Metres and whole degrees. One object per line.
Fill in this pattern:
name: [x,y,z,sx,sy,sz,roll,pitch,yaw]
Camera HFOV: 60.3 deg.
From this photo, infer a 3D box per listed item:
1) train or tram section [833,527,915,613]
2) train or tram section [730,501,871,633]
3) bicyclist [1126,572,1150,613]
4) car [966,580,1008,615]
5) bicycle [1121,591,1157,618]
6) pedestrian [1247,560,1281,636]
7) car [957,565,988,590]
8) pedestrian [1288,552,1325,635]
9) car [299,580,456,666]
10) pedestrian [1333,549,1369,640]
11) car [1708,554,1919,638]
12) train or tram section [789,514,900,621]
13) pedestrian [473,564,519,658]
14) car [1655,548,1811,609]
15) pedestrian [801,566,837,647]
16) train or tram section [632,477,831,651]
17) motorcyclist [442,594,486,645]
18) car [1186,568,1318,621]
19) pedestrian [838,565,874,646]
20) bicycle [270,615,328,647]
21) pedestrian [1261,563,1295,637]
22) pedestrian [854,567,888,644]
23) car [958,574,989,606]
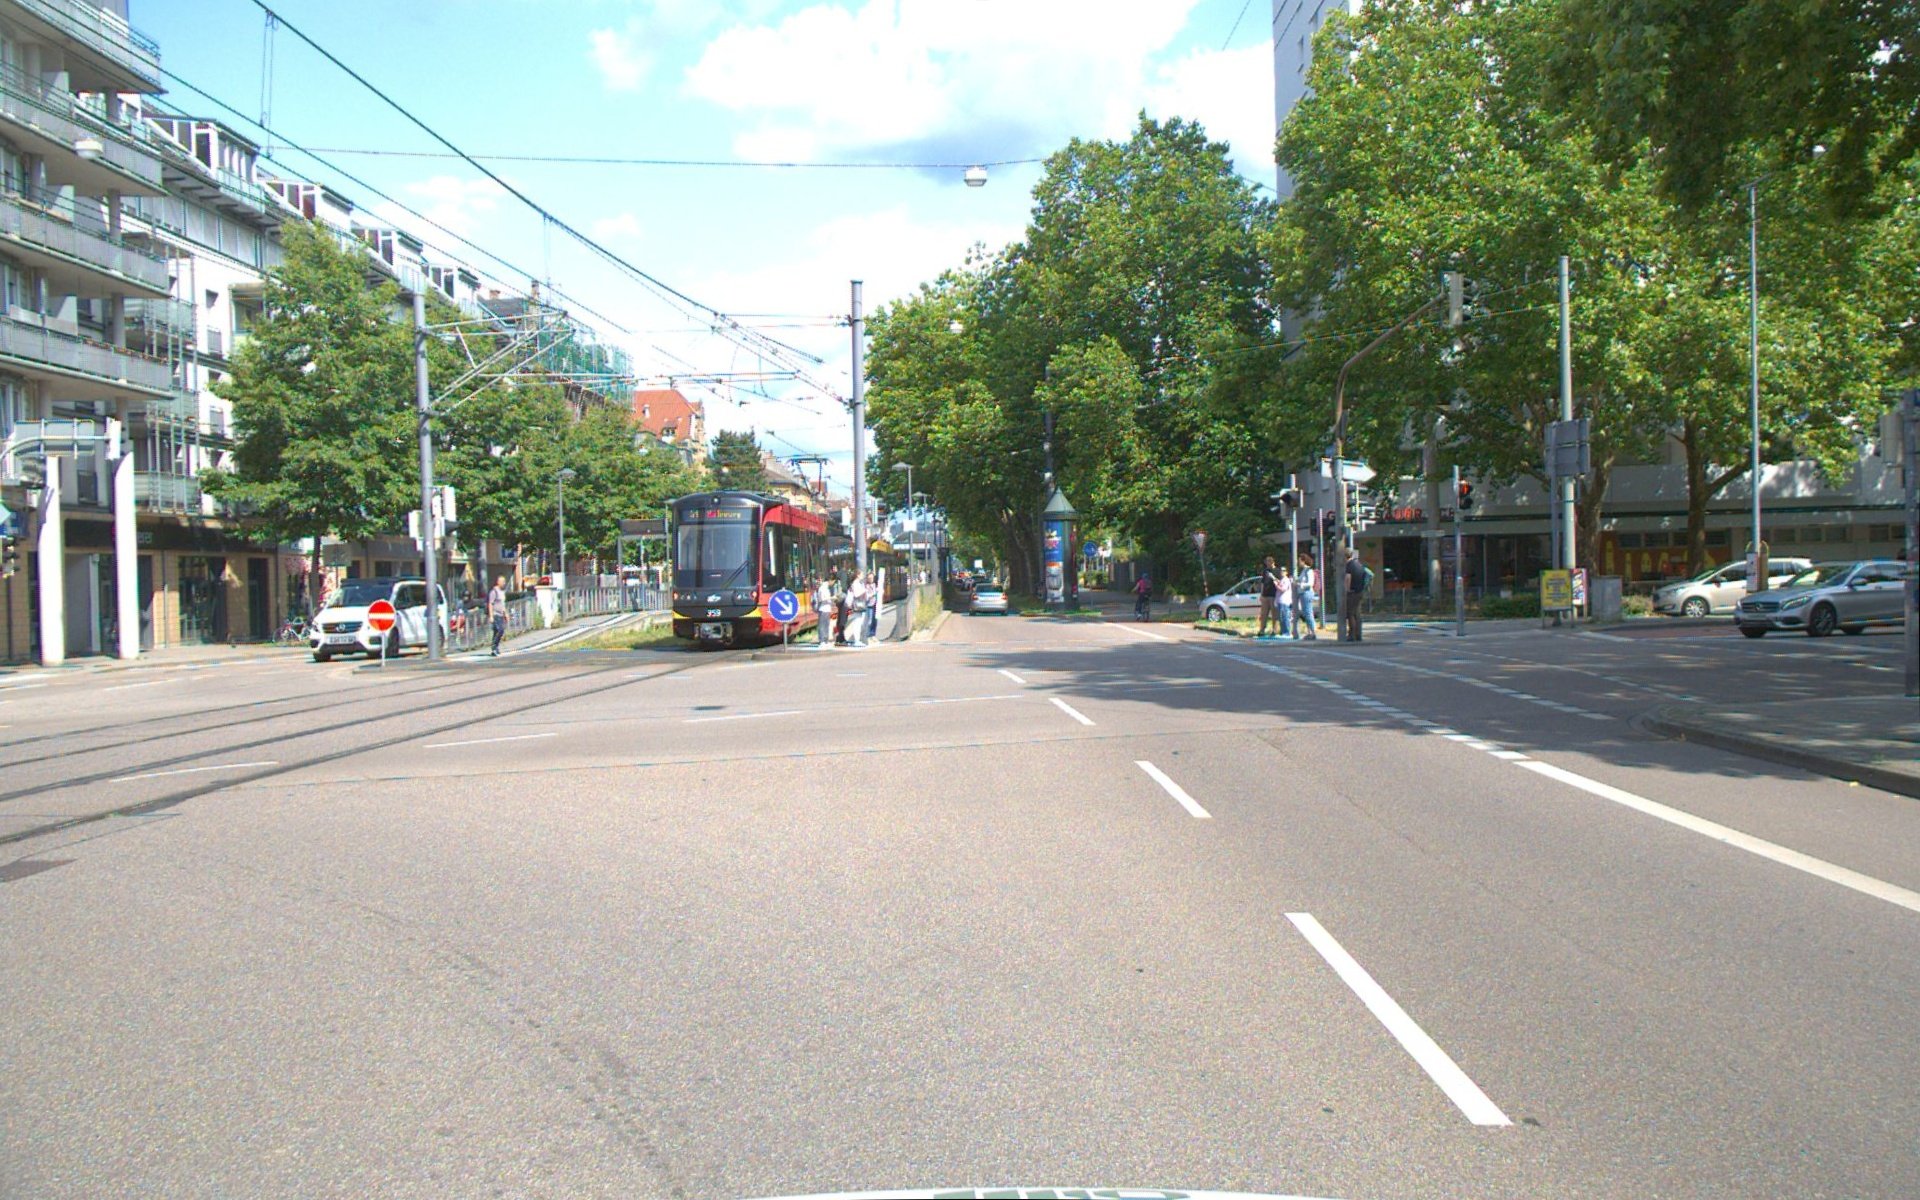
train or tram section: [-3.765,-1.344,74.501,2.709,3.543,8.911,-2,1,3]
train or tram section: [-4.795,-1.020,52.236,2.747,3.623,11.186,-2,1,3]
bicyclist: [6.309,-0.262,58.527,0.604,1.408,0.877,-2,1,-9]
car: [1.217,-0.118,74.251,1.712,1.478,3.607,-2,1,3]
bicycle: [6.327,0.151,58.538,0.604,0.895,2.532,-2,1,-9]
pedestrian: [6.926,-0.054,37.653,0.503,1.700,0.553,-2,1,-21]
car: [0.673,-1.238,91.981,1.455,1.338,3.998,-1,1,-3]
pedestrian: [7.481,-0.143,35.712,0.520,1.765,0.553,-2,1,-21]
car: [-14.332,0.496,41.023,1.952,1.924,5.172,-2,1,1]
pedestrian: [8.079,-0.109,34.136,0.473,1.857,0.553,-1,1,42]
car: [17.252,-0.095,33.065,3.924,1.516,1.852,-2,1,-17]
train or tram section: [-4.269,-1.239,63.909,2.747,3.623,12.162,-2,1,3]
pedestrian: [-10.254,0.237,36.568,0.722,2.049,0.704,-2,0,6]
car: [21.043,-0.584,45.157,3.760,1.516,1.860,-2,1,25]
pedestrian: [-3.087,0.127,36.182,0.655,1.732,0.648,-2,1,3]
train or tram section: [-5.319,-0.860,40.980,2.738,3.623,11.381,-2,1,3]
motorcyclist: [-14.204,0.547,47.391,0.875,1.428,1.088,-2,0,1]
car: [8.974,-0.173,50.959,3.596,1.510,1.731,-1,1,34]
pedestrian: [-2.275,0.110,36.093,0.655,1.732,0.648,-2,1,3]
bicycle: [-21.757,1.014,54.475,1.655,1.003,0.497,-2,1,-3]
pedestrian: [7.129,-0.010,37.115,0.503,1.625,0.553,-2,1,-21]
pedestrian: [-2.049,0.113,38.122,0.655,1.732,0.648,-2,1,3]
car: [0.902,-0.670,108.378,1.952,2.049,4.001,0,1,1]
